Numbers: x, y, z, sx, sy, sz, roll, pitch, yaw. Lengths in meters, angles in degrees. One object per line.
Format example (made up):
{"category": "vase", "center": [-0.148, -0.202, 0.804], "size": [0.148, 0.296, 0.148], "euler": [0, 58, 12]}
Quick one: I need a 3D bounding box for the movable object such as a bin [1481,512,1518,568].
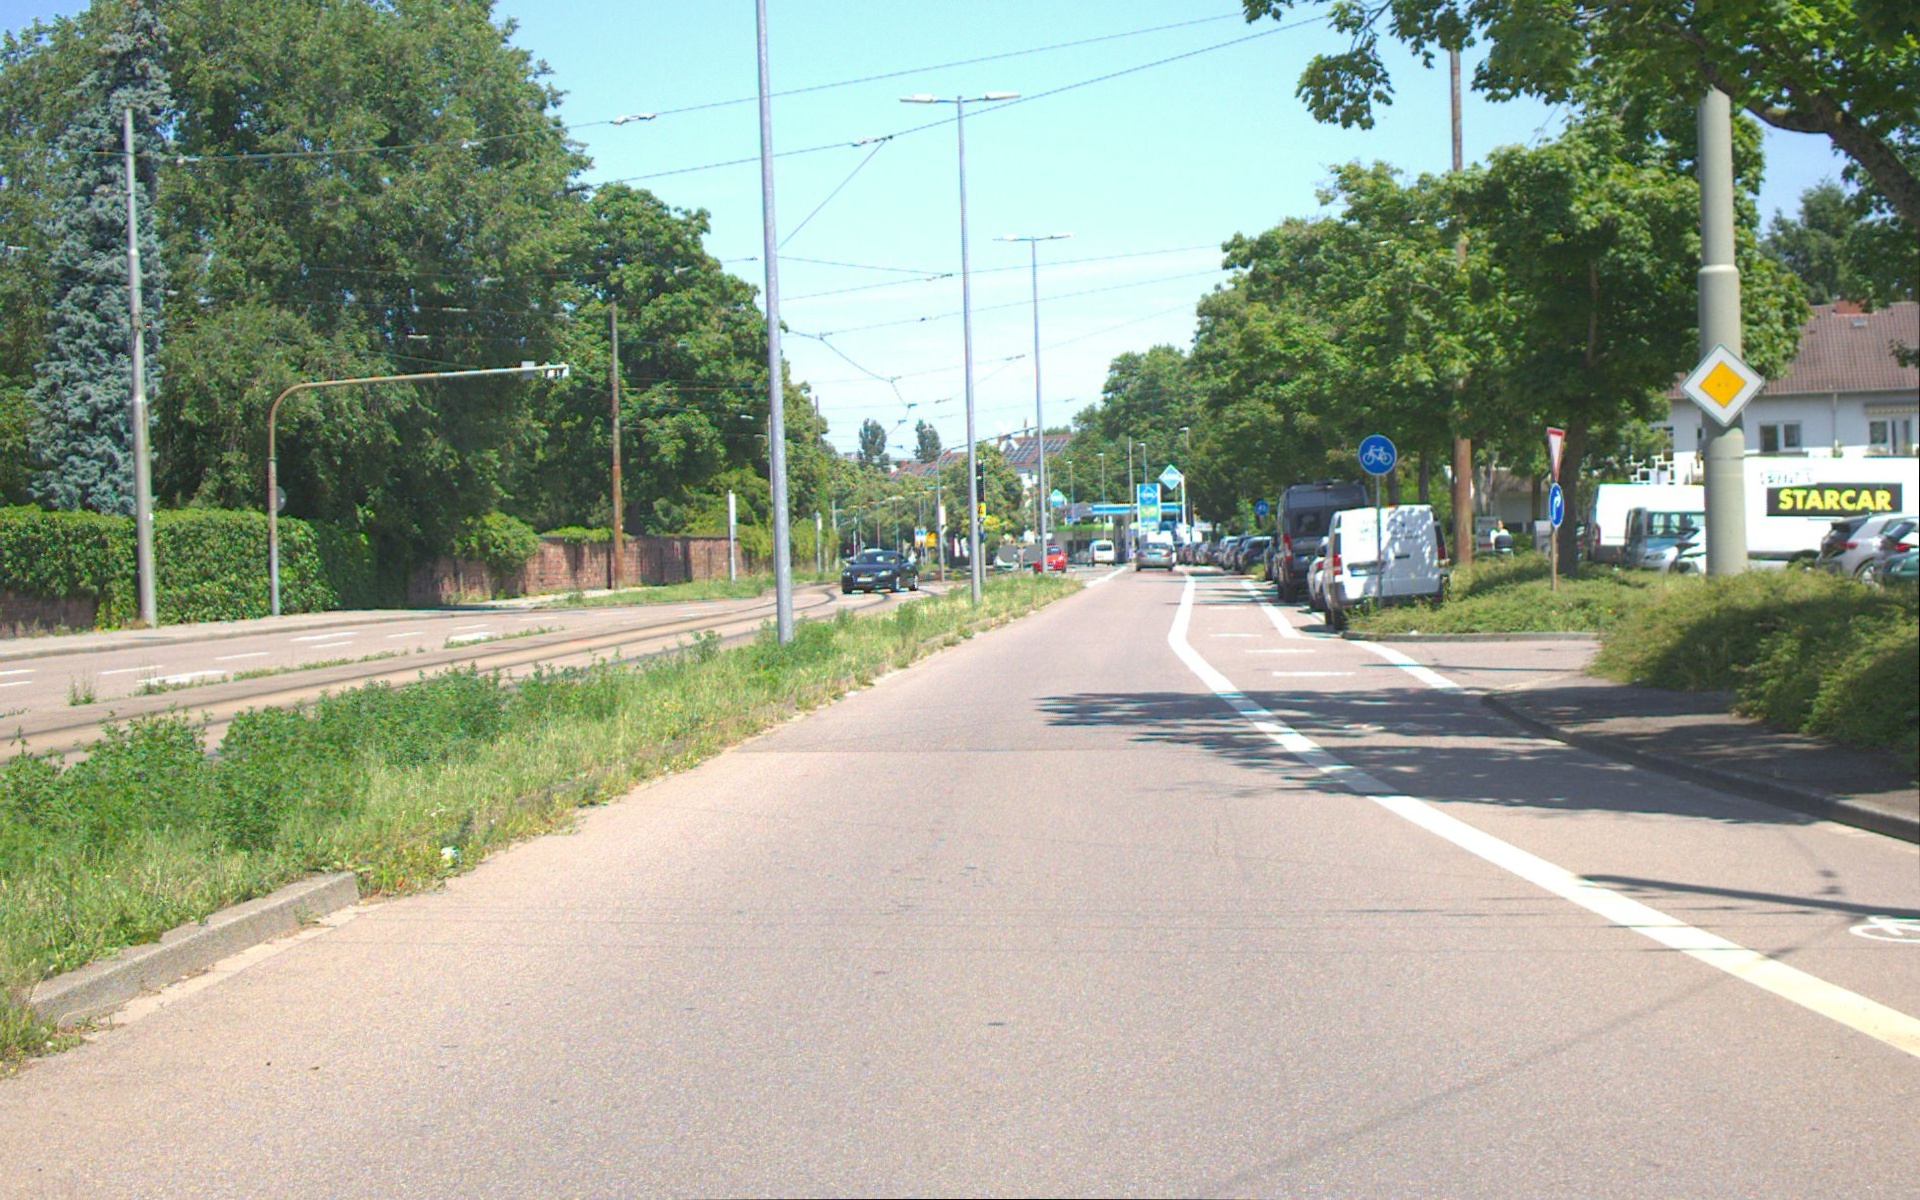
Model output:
{"category": "movable object such as a bin", "center": [13.257, -1.475, 84.546], "size": [0.792, 1.348, 0.889], "euler": [-1, 1, 4]}

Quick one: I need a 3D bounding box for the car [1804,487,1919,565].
{"category": "car", "center": [17.506, -1.334, 62.432], "size": [3.886, 1.375, 1.728], "euler": [1, 1, -2]}

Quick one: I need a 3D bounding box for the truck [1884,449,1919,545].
{"category": "truck", "center": [33.877, -3.502, 111.761], "size": [6.947, 3.074, 2.424], "euler": [-3, 1, 3]}

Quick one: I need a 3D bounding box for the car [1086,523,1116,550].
{"category": "car", "center": [10.543, -4.762, 258.053], "size": [1.993, 2.007, 4.000], "euler": [1, 1, -1]}

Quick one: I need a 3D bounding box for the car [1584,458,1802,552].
{"category": "car", "center": [19.655, -2.551, 92.378], "size": [5.491, 2.451, 2.094], "euler": [1, 1, 5]}

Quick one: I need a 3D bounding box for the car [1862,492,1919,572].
{"category": "car", "center": [17.259, -1.127, 57.549], "size": [3.886, 1.320, 1.728], "euler": [1, 1, 3]}

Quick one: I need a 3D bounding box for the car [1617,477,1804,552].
{"category": "car", "center": [19.494, -2.219, 89.393], "size": [4.406, 1.902, 1.954], "euler": [1, 1, 0]}

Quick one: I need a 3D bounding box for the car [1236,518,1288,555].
{"category": "car", "center": [12.881, -2.735, 146.987], "size": [1.841, 1.431, 4.824], "euler": [-4, 1, 2]}

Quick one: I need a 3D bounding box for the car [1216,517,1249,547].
{"category": "car", "center": [16.843, -4.216, 212.542], "size": [1.841, 1.688, 4.778], "euler": [-4, 1, 4]}

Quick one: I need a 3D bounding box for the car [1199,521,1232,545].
{"category": "car", "center": [17.030, -4.472, 229.421], "size": [1.707, 1.487, 5.039], "euler": [-4, 1, 0]}

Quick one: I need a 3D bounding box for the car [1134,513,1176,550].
{"category": "car", "center": [9.405, -3.305, 165.754], "size": [1.756, 1.625, 4.324], "euler": [-4, 1, 1]}

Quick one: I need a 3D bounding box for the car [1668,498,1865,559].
{"category": "car", "center": [19.051, -1.696, 81.327], "size": [4.276, 1.401, 1.728], "euler": [1, 1, 2]}

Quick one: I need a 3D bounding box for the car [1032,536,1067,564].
{"category": "car", "center": [4.767, -2.651, 183.009], "size": [1.706, 1.409, 4.281], "euler": [-1, 1, 3]}

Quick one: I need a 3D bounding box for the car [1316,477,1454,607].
{"category": "car", "center": [6.903, -0.970, 56.303], "size": [1.879, 1.910, 5.124], "euler": [-4, 1, 4]}

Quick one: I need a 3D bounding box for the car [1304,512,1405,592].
{"category": "car", "center": [7.774, -0.971, 68.028], "size": [1.722, 1.423, 4.209], "euler": [-4, 1, 4]}

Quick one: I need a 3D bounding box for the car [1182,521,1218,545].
{"category": "car", "center": [16.820, -4.679, 240.639], "size": [1.706, 1.557, 4.325], "euler": [-4, 1, -6]}

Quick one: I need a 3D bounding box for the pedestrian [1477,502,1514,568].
{"category": "pedestrian", "center": [13.308, -1.623, 85.470], "size": [0.805, 1.619, 0.943], "euler": [-1, 1, 4]}

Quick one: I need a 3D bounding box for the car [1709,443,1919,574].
{"category": "car", "center": [18.173, -1.795, 67.964], "size": [6.342, 2.520, 2.263], "euler": [1, 1, 7]}

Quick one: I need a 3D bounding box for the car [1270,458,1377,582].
{"category": "car", "center": [8.341, -1.852, 79.269], "size": [1.998, 2.627, 6.078], "euler": [-4, 1, 3]}

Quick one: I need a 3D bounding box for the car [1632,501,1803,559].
{"category": "car", "center": [19.046, -1.771, 86.519], "size": [3.886, 1.401, 1.728], "euler": [1, 1, -1]}

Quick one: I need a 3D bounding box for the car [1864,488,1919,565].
{"category": "car", "center": [17.929, -1.262, 59.938], "size": [3.886, 1.320, 1.728], "euler": [1, 1, 3]}

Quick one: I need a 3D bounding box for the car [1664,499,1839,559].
{"category": "car", "center": [19.350, -1.742, 84.171], "size": [3.886, 1.401, 1.728], "euler": [1, 1, 2]}

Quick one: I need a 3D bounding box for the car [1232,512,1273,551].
{"category": "car", "center": [13.998, -3.282, 164.546], "size": [1.841, 1.700, 4.625], "euler": [-4, 1, 5]}

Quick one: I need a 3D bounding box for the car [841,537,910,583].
{"category": "car", "center": [-2.706, -1.297, 110.535], "size": [1.756, 1.443, 4.122], "euler": [0, 1, 5]}
